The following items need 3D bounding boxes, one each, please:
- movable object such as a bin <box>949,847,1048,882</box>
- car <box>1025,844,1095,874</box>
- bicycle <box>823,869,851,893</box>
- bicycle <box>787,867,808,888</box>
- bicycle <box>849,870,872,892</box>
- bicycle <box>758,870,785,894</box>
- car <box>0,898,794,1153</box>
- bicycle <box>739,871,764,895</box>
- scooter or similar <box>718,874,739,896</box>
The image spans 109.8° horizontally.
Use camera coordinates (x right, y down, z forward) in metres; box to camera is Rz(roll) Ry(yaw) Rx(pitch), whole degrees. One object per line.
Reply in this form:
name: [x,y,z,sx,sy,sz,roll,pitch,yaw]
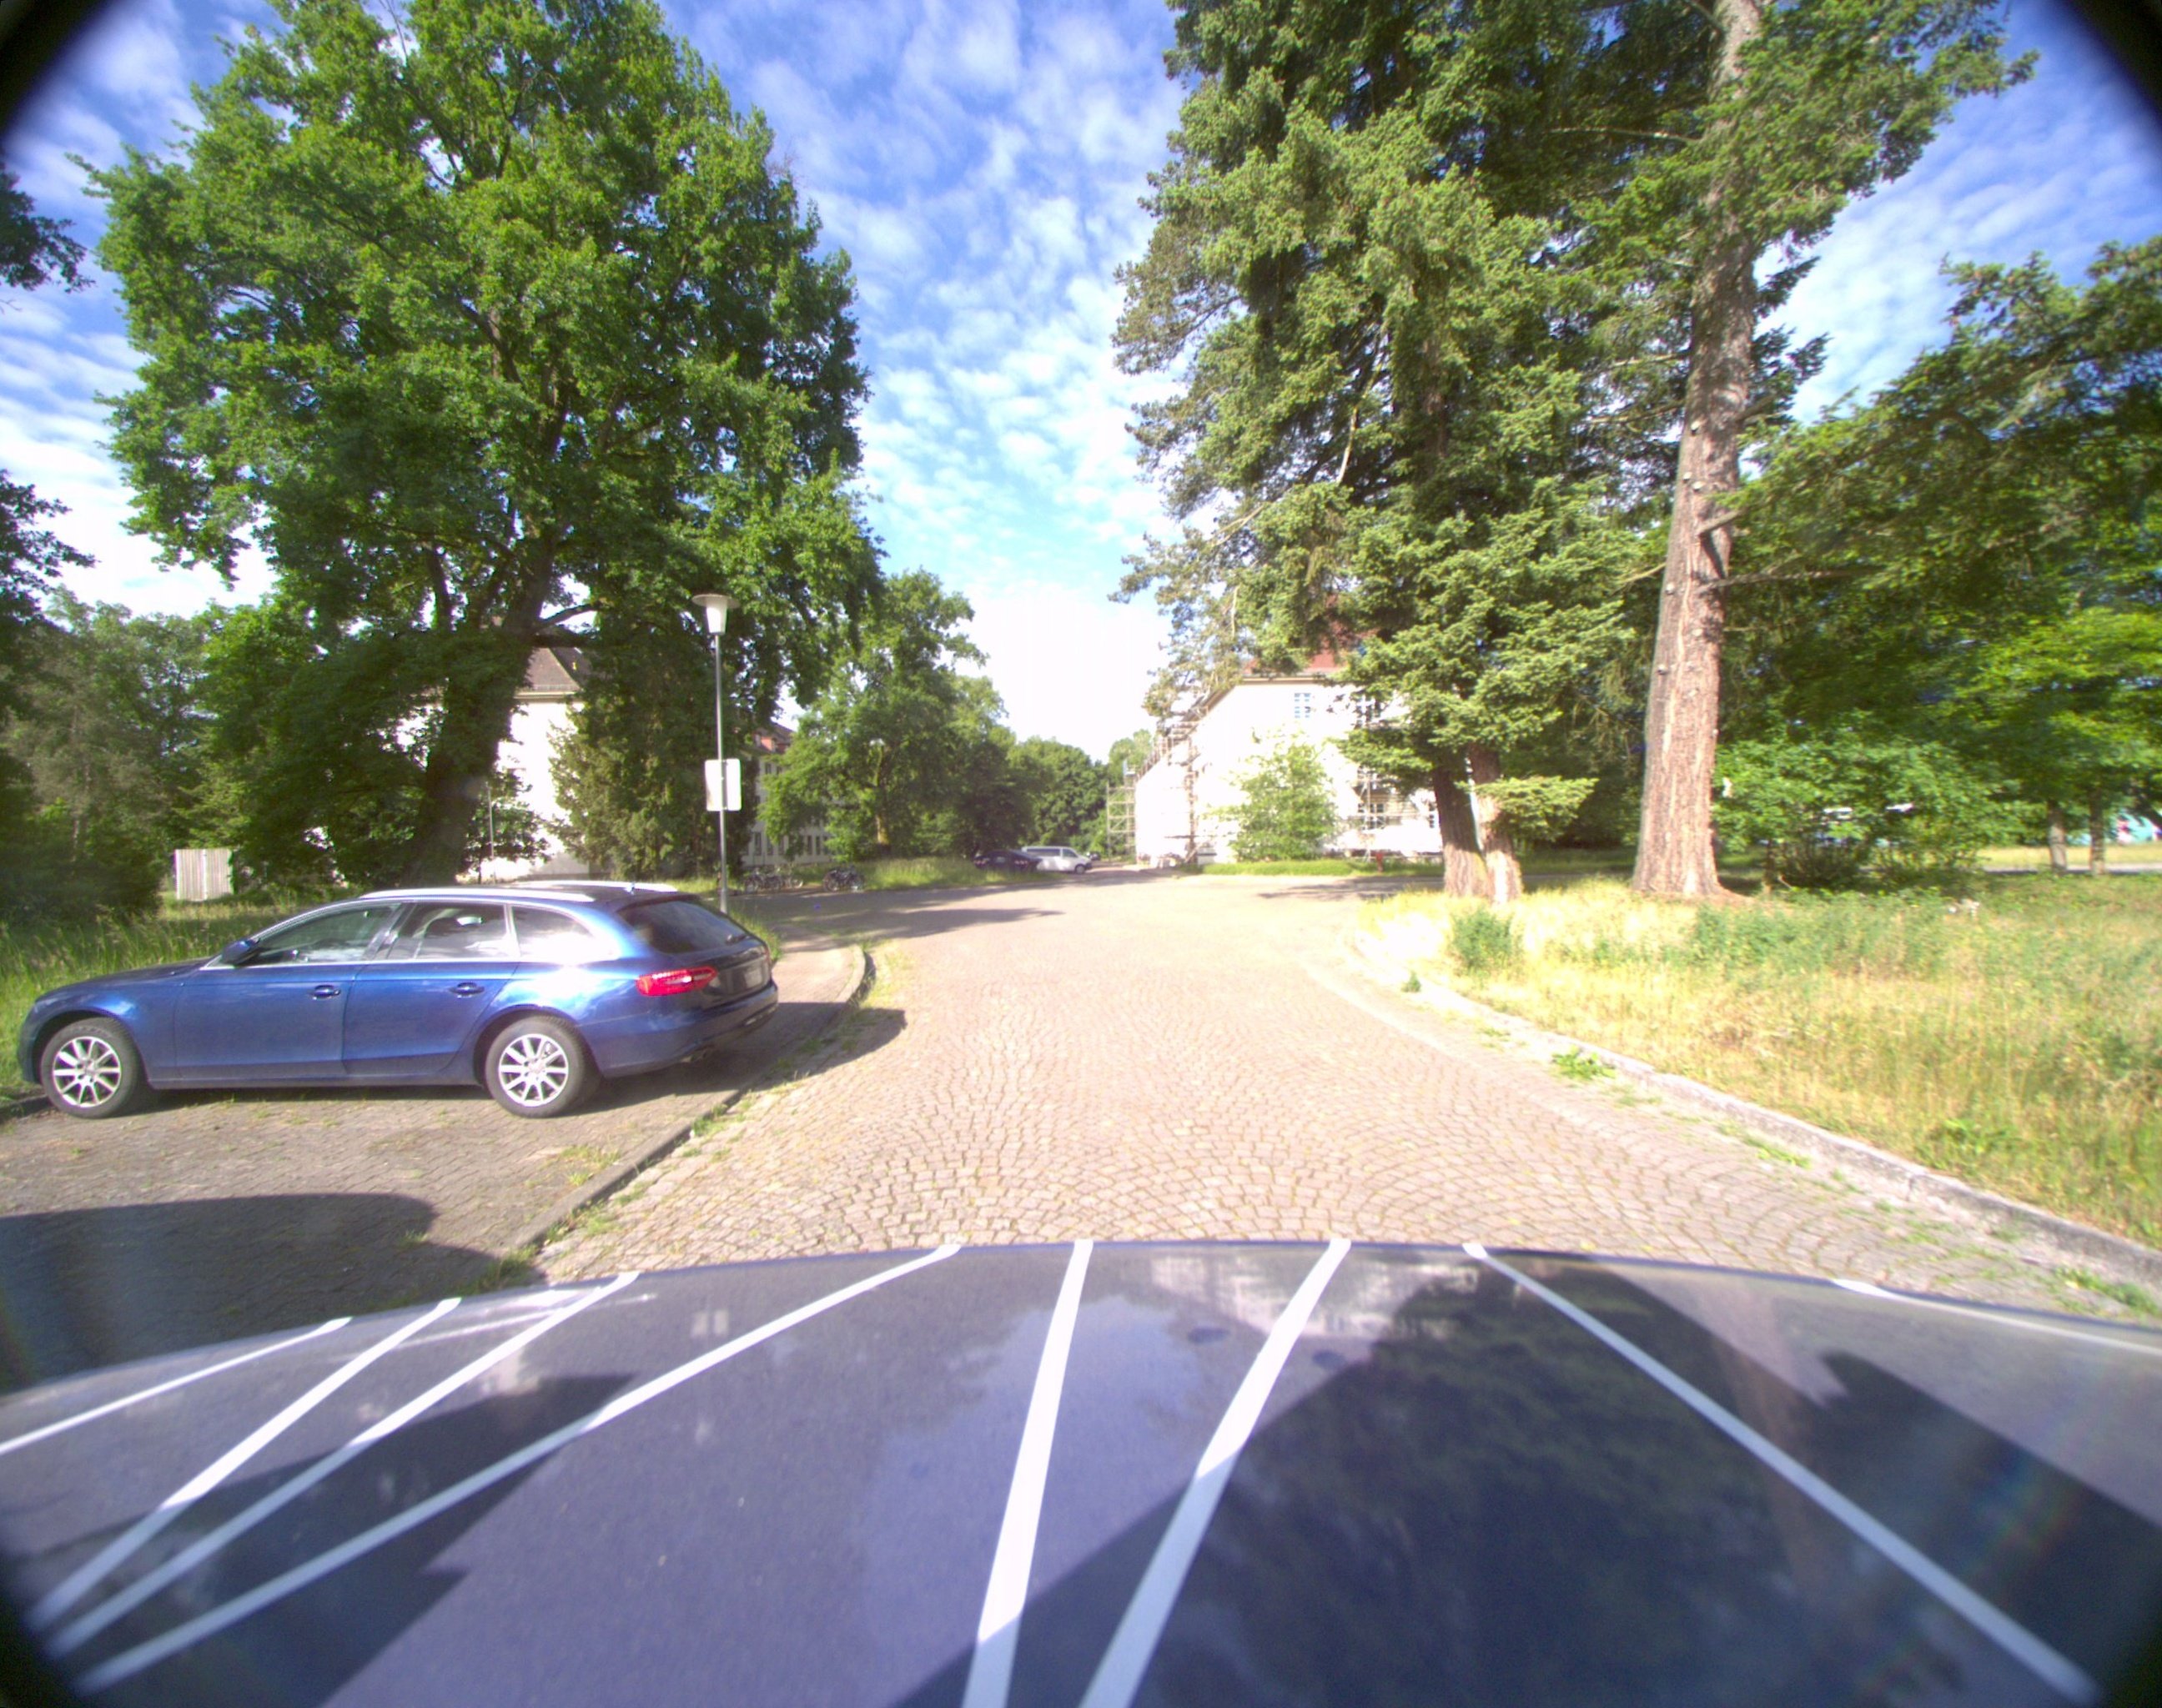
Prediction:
movable object such as a bin: [-4.472,0.566,41.325,4.931,1.749,2.002,-1,1,13]
car: [-1.487,0.322,54.363,4.937,2.002,2.000,-1,1,-1]
bicycle: [-10.899,1.202,33.921,0.710,1.010,1.256,-1,1,6]
bicycle: [-14.428,1.174,38.637,0.712,1.010,1.024,-2,1,-38]
bicycle: [-9.947,1.198,34.347,0.747,0.929,1.140,-1,1,-4]
bicycle: [-14.058,1.277,34.525,0.710,1.010,1.027,-1,1,6]
car: [-4.613,1.074,5.437,4.460,1.400,1.714,0,1,2]
bicycle: [-14.813,1.306,34.136,0.619,1.010,1.027,-1,1,2]
scooter or similar: [-15.454,1.355,33.303,0.770,0.924,0.261,-1,1,-7]
